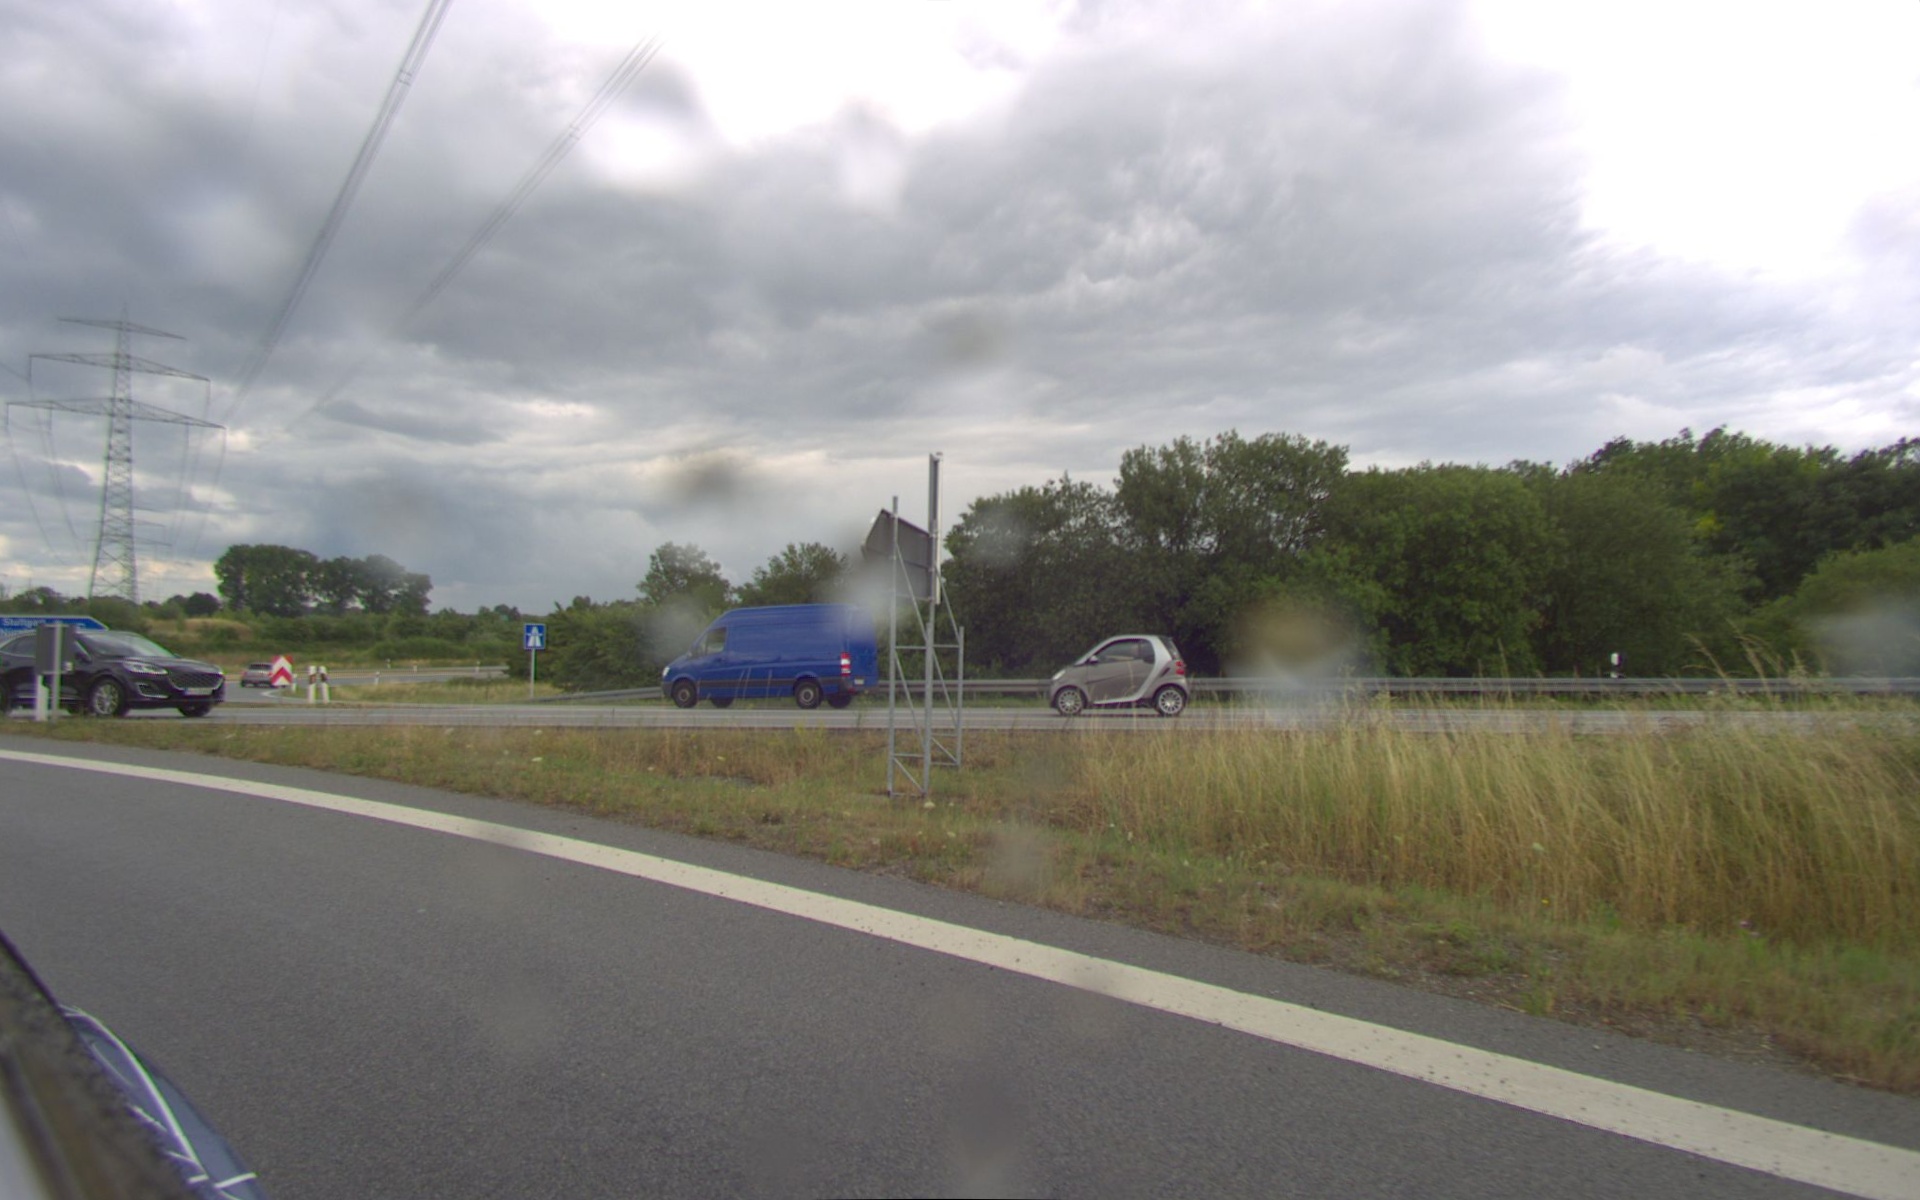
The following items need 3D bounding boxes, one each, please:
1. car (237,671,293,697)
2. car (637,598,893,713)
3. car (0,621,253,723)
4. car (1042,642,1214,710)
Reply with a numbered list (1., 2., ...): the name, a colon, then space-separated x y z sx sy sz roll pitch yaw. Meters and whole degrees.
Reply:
1. car: -41.495 4.981 60.490 1.712 1.449 3.784 3 -4 -19
2. car: -5.107 1.494 26.637 6.234 2.747 2.318 -1 -7 20
3. car: -15.809 1.280 18.570 4.544 1.733 1.994 0 -3 10
4. car: 3.142 1.426 19.298 3.096 1.185 1.432 -1 0 7
